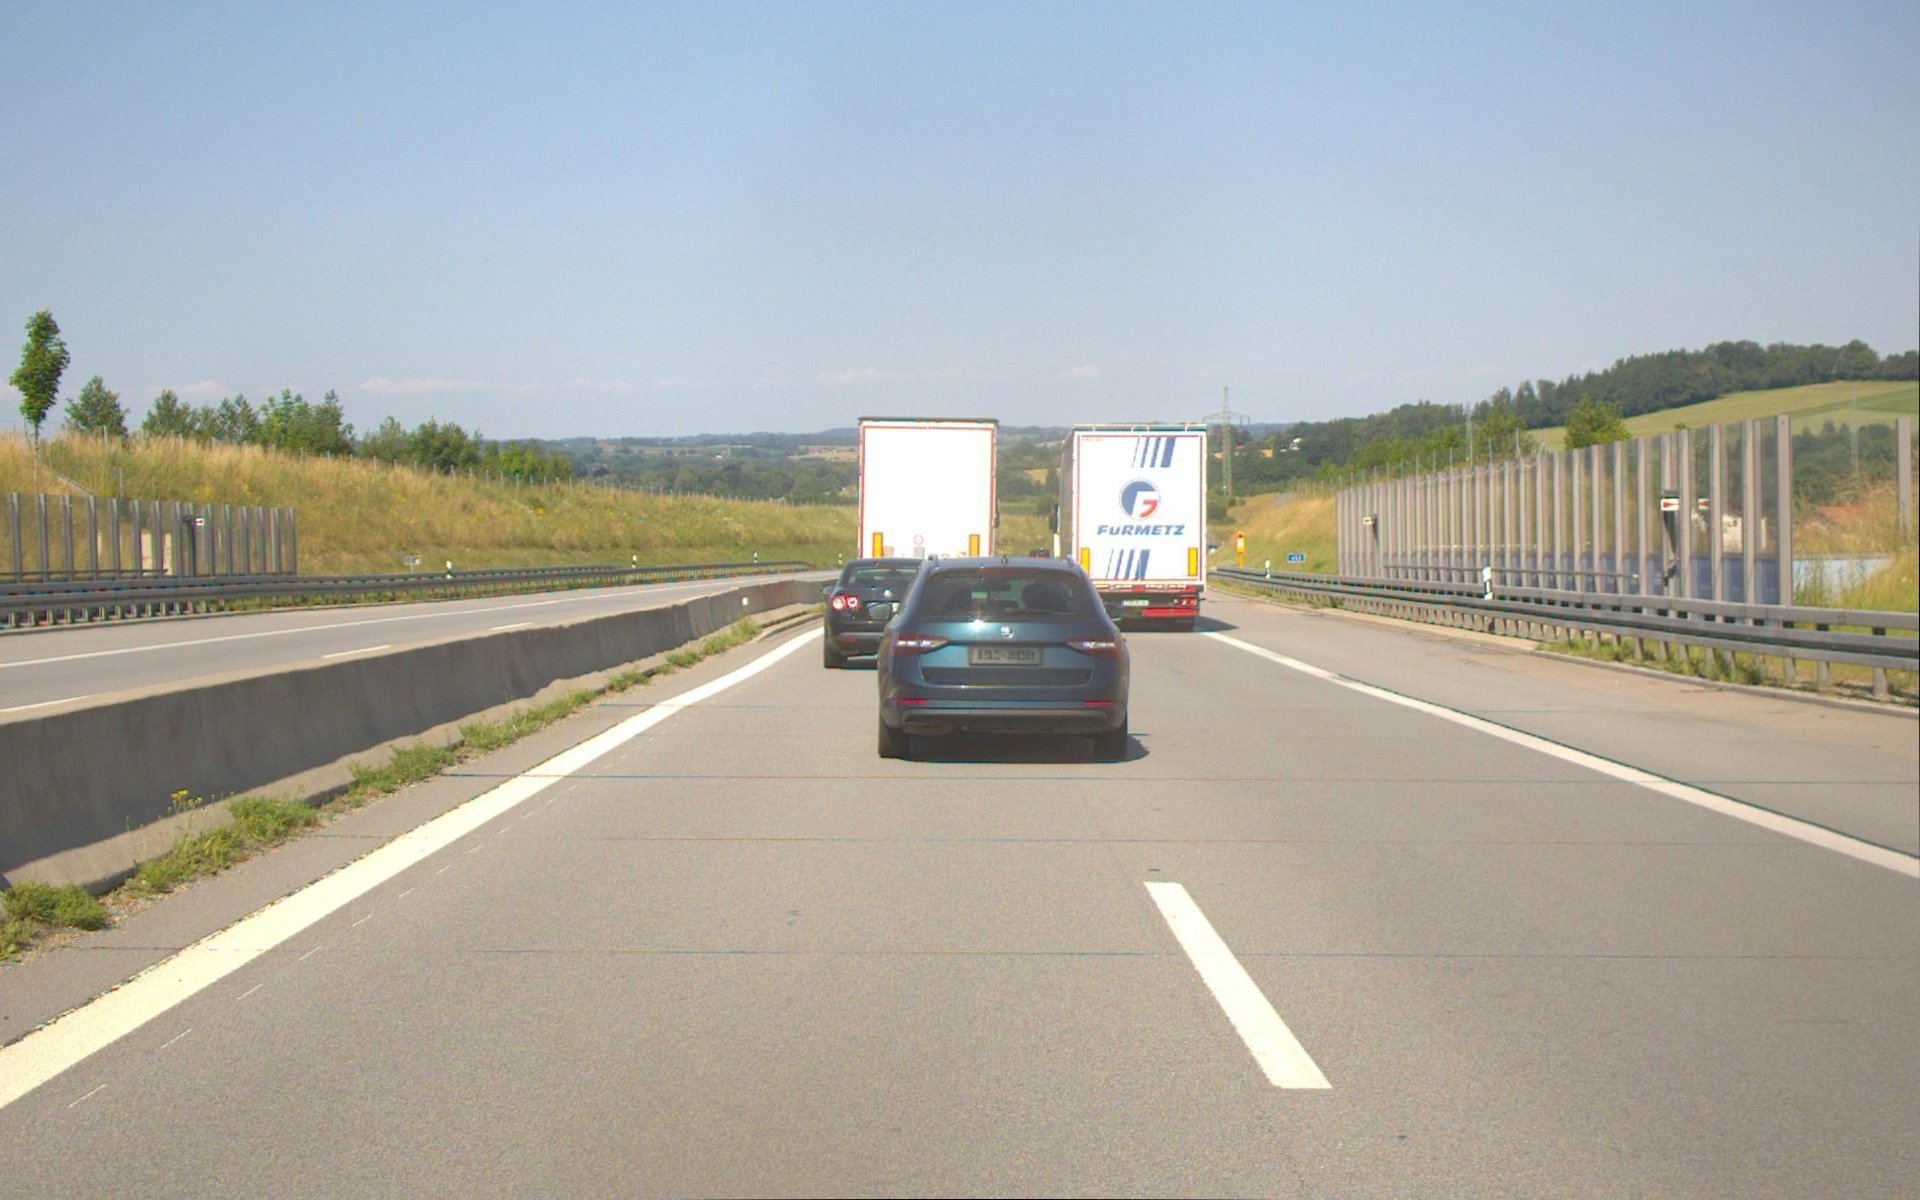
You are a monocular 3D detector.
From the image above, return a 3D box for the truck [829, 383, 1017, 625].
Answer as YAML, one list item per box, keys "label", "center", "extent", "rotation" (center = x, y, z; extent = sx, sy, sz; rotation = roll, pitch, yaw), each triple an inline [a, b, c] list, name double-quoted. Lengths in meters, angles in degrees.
- label: "truck"
  center: [-0.586, -1.882, 69.381]
  extent: [3.211, 4.366, 11.233]
  rotation: [-2, 1, 2]

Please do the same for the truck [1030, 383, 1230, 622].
- label: "truck"
  center: [3.330, -1.947, 70.555]
  extent: [3.604, 4.366, 11.233]
  rotation: [-2, 1, 1]

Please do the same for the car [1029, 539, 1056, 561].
- label: "car"
  center: [5.445, -3.296, 226.607]
  extent: [1.700, 1.436, 4.000]
  rotation: [0, 1, 0]

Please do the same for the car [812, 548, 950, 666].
- label: "car"
  center: [-1.093, 0.059, 45.781]
  extent: [1.700, 1.436, 4.001]
  rotation: [-2, 1, -2]

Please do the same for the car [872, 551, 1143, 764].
- label: "car"
  center: [0.275, 0.370, 25.389]
  extent: [1.776, 1.436, 3.789]
  rotation: [0, 1, -3]

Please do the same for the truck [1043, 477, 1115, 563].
- label: "truck"
  center: [6.408, -4.315, 186.727]
  extent: [3.604, 4.366, 11.233]
  rotation: [-2, 1, 1]
